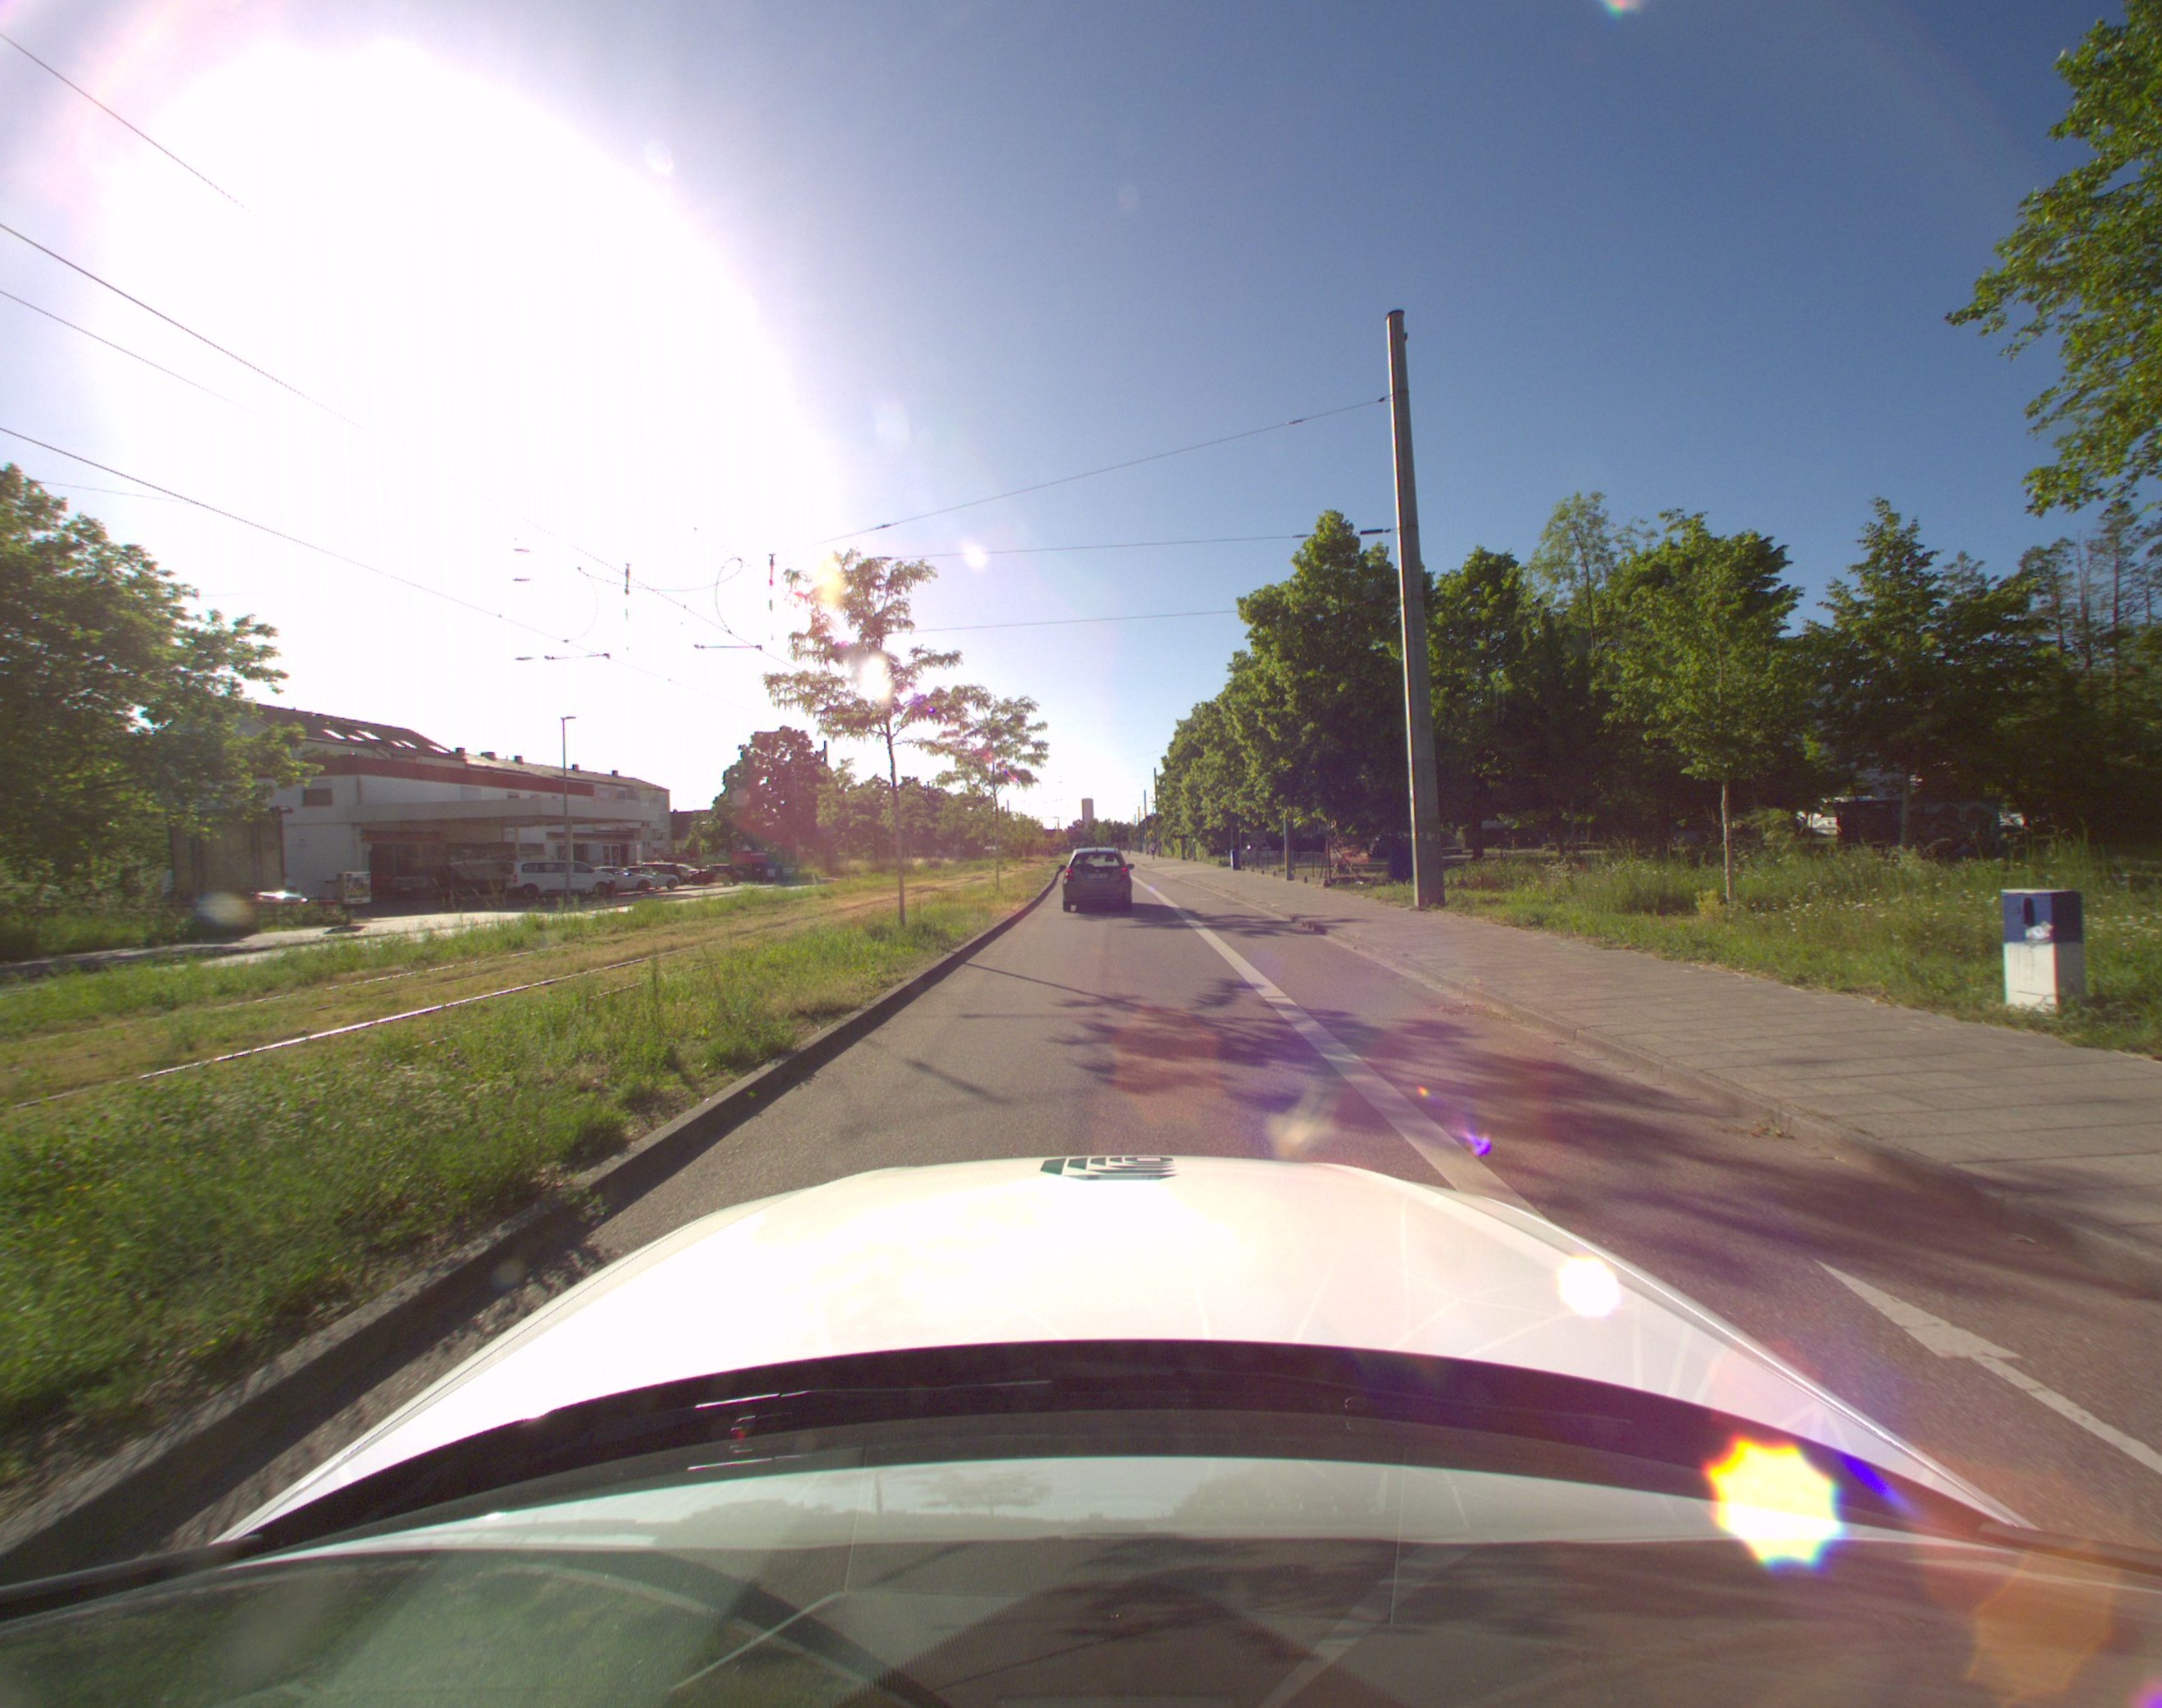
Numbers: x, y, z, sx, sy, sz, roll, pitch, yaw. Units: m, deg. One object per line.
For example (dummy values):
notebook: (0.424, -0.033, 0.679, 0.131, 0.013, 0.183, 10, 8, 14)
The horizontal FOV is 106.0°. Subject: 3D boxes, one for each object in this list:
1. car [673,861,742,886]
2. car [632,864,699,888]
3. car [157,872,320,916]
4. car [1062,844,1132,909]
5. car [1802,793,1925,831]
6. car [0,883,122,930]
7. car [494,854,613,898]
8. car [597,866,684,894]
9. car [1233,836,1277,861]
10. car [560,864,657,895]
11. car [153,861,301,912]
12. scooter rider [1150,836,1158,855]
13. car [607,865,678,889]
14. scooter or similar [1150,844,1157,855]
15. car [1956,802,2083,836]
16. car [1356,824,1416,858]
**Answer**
car: (-27.047, 1.383, 59.060, 4.058, 1.568, 1.792, -3, 0, -1)
car: (-31.339, 1.629, 61.552, 4.058, 1.568, 1.792, -3, 0, -1)
car: (-30.730, 1.457, 29.797, 3.956, 1.526, 1.728, -1, -3, -3)
car: (0.441, 0.496, 20.665, 1.618, 1.499, 3.459, -1, 1, 2)
car: (47.806, -2.511, 49.965, 2.010, 2.039, 5.875, -2, 0, 2)
car: (-39.523, 1.989, 30.732, 1.569, 1.544, 4.095, -2, 0, 6)
car: (-27.472, 1.109, 42.566, 1.837, 1.974, 4.817, -2, 1, 40)
car: (-27.565, 1.598, 51.116, 1.769, 1.470, 4.500, -2, 1, 32)
car: (10.800, -0.340, 50.726, 1.769, 1.386, 3.868, -3, 0, -1)
car: (-27.234, 1.452, 47.049, 1.769, 1.528, 4.500, -2, 1, 40)
car: (-39.807, 1.495, 38.051, 4.705, 2.091, 2.021, -3, 0, 0)
scooter rider: (7.400, -0.857, 82.831, 0.714, 1.901, 0.934, -2, 0, 0)
car: (-31.545, 1.662, 58.647, 4.058, 1.444, 1.792, -3, 0, -1)
scooter or similar: (7.379, -0.456, 82.668, 0.537, 1.118, 1.417, -2, 0, 0)
car: (57.937, -2.125, 50.452, 1.865, 1.867, 5.279, -2, 0, 2)
car: (18.695, -0.766, 50.205, 1.865, 1.966, 5.169, -2, 0, 2)
